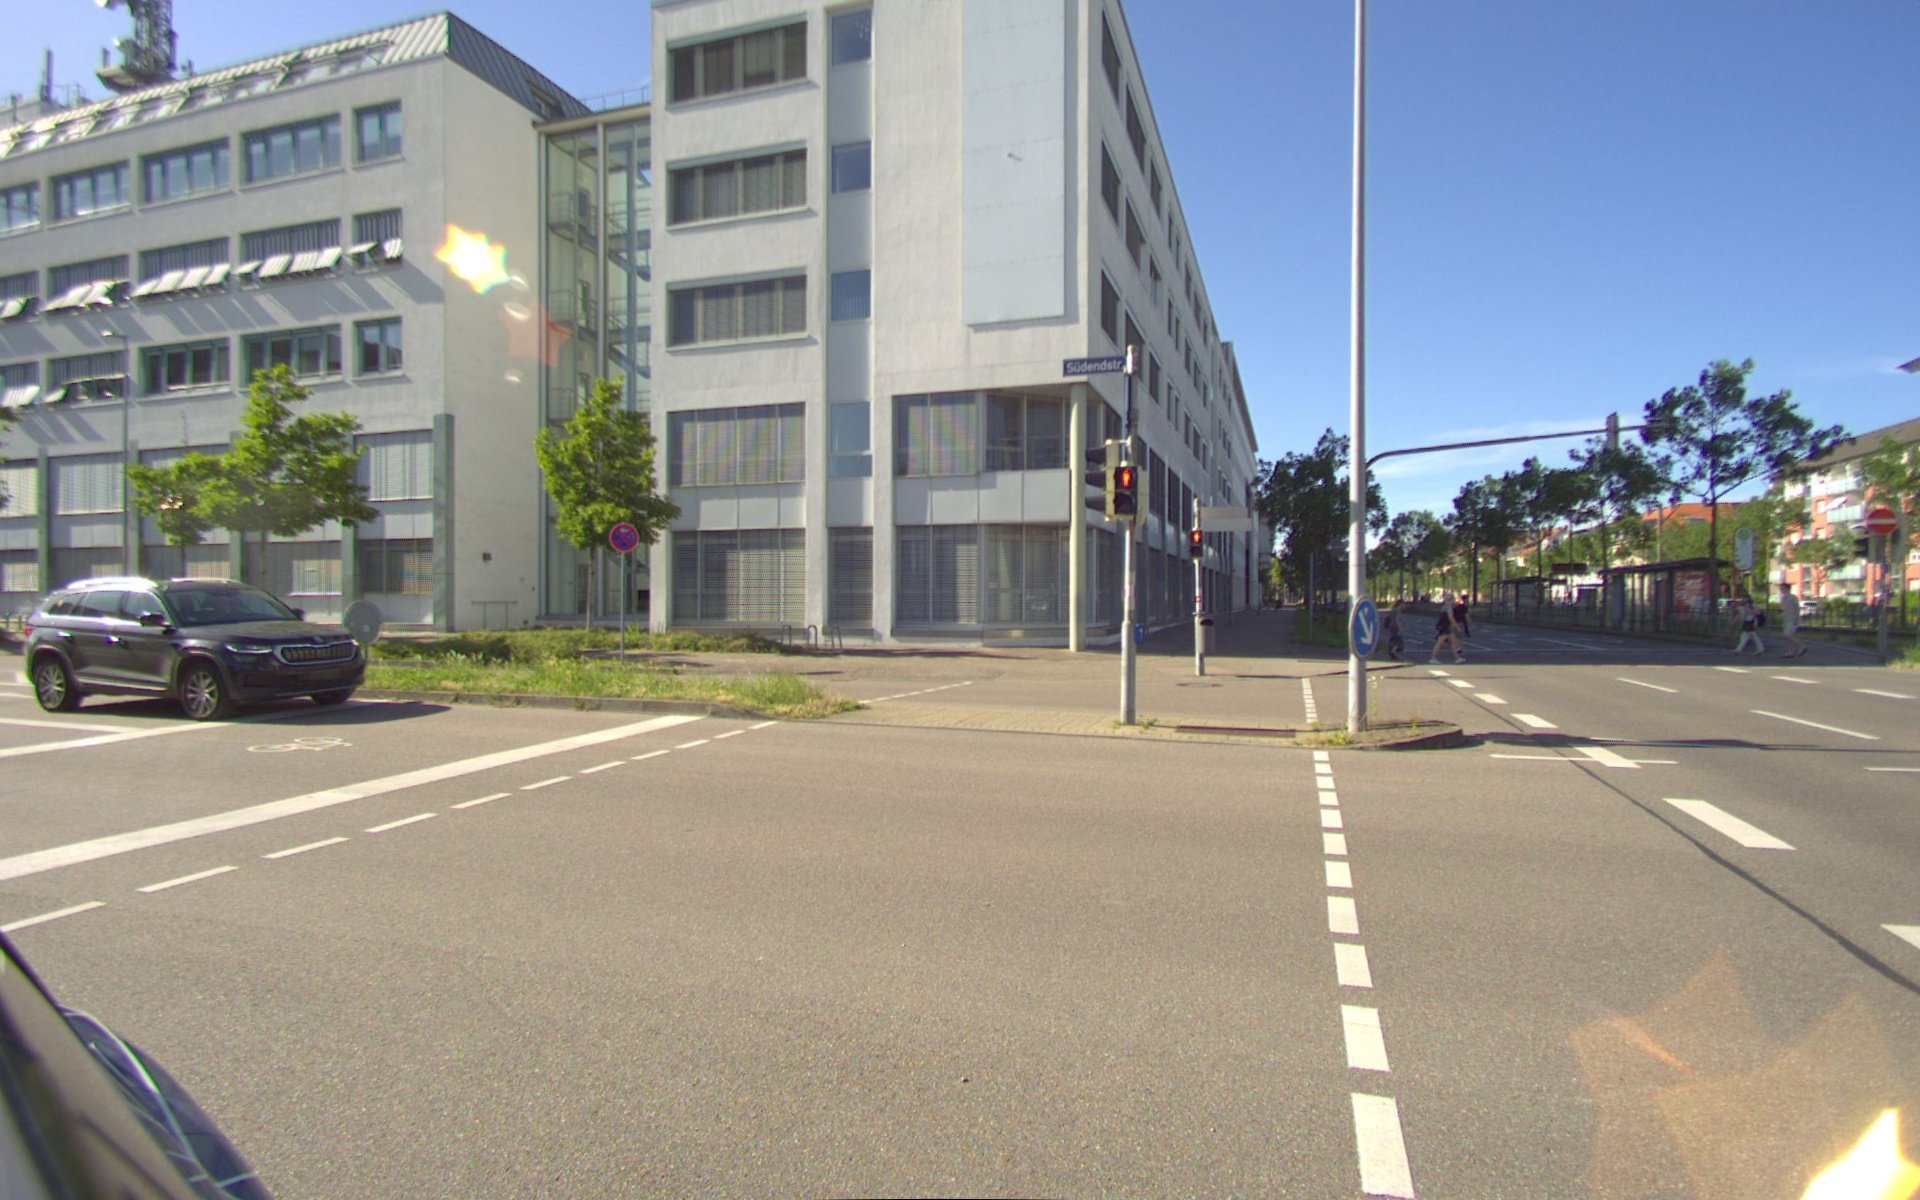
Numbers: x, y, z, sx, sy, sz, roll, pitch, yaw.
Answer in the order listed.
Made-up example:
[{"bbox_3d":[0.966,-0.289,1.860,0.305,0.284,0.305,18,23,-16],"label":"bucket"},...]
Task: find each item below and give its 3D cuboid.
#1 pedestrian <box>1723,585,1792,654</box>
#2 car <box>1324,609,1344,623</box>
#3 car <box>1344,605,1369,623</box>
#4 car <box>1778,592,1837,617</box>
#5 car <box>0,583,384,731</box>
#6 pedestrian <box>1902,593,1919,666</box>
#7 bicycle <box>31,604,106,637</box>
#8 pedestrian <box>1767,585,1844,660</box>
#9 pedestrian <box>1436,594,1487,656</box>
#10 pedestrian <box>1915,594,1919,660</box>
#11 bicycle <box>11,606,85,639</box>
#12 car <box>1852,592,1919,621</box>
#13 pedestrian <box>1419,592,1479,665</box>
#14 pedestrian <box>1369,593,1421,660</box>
[{"bbox_3d":[20.591,0.492,26.142,1.143,1.739,0.809,0,-1,14],"label":"pedestrian"},{"bbox_3d":[40.654,1.740,110.000,1.766,1.531,3.977,0,-1,17],"label":"car"},{"bbox_3d":[35.468,1.259,90.666,1.766,1.531,3.977,0,-1,17],"label":"car"},{"bbox_3d":[64.652,0.356,77.283,1.983,1.863,3.978,0,0,17],"label":"car"},{"bbox_3d":[-9.851,0.622,12.991,4.442,1.640,1.749,0,2,19],"label":"car"},{"bbox_3d":[23.694,0.715,24.611,1.134,1.739,0.816,0,-1,-29],"label":"pedestrian"},{"bbox_3d":[-29.896,0.681,33.975,0.618,1.077,1.778,0,-1,27],"label":"bicycle"},{"bbox_3d":[20.757,0.541,24.869,1.143,1.784,0.919,0,-1,14],"label":"pedestrian"},{"bbox_3d":[14.214,0.704,28.714,1.143,1.739,0.809,0,-1,14],"label":"pedestrian"},{"bbox_3d":[23.010,0.636,23.564,0.850,1.545,0.723,0,-1,14],"label":"pedestrian"},{"bbox_3d":[-30.677,0.758,34.064,0.553,1.077,1.757,0,-1,27],"label":"bicycle"},{"bbox_3d":[61.619,0.447,67.248,1.983,1.863,3.978,0,0,17],"label":"car"},{"bbox_3d":[11.757,0.676,24.366,1.143,1.739,0.809,0,-1,14],"label":"pedestrian"},{"bbox_3d":[11.524,0.694,26.829,1.143,1.739,0.809,0,-1,14],"label":"pedestrian"}]
